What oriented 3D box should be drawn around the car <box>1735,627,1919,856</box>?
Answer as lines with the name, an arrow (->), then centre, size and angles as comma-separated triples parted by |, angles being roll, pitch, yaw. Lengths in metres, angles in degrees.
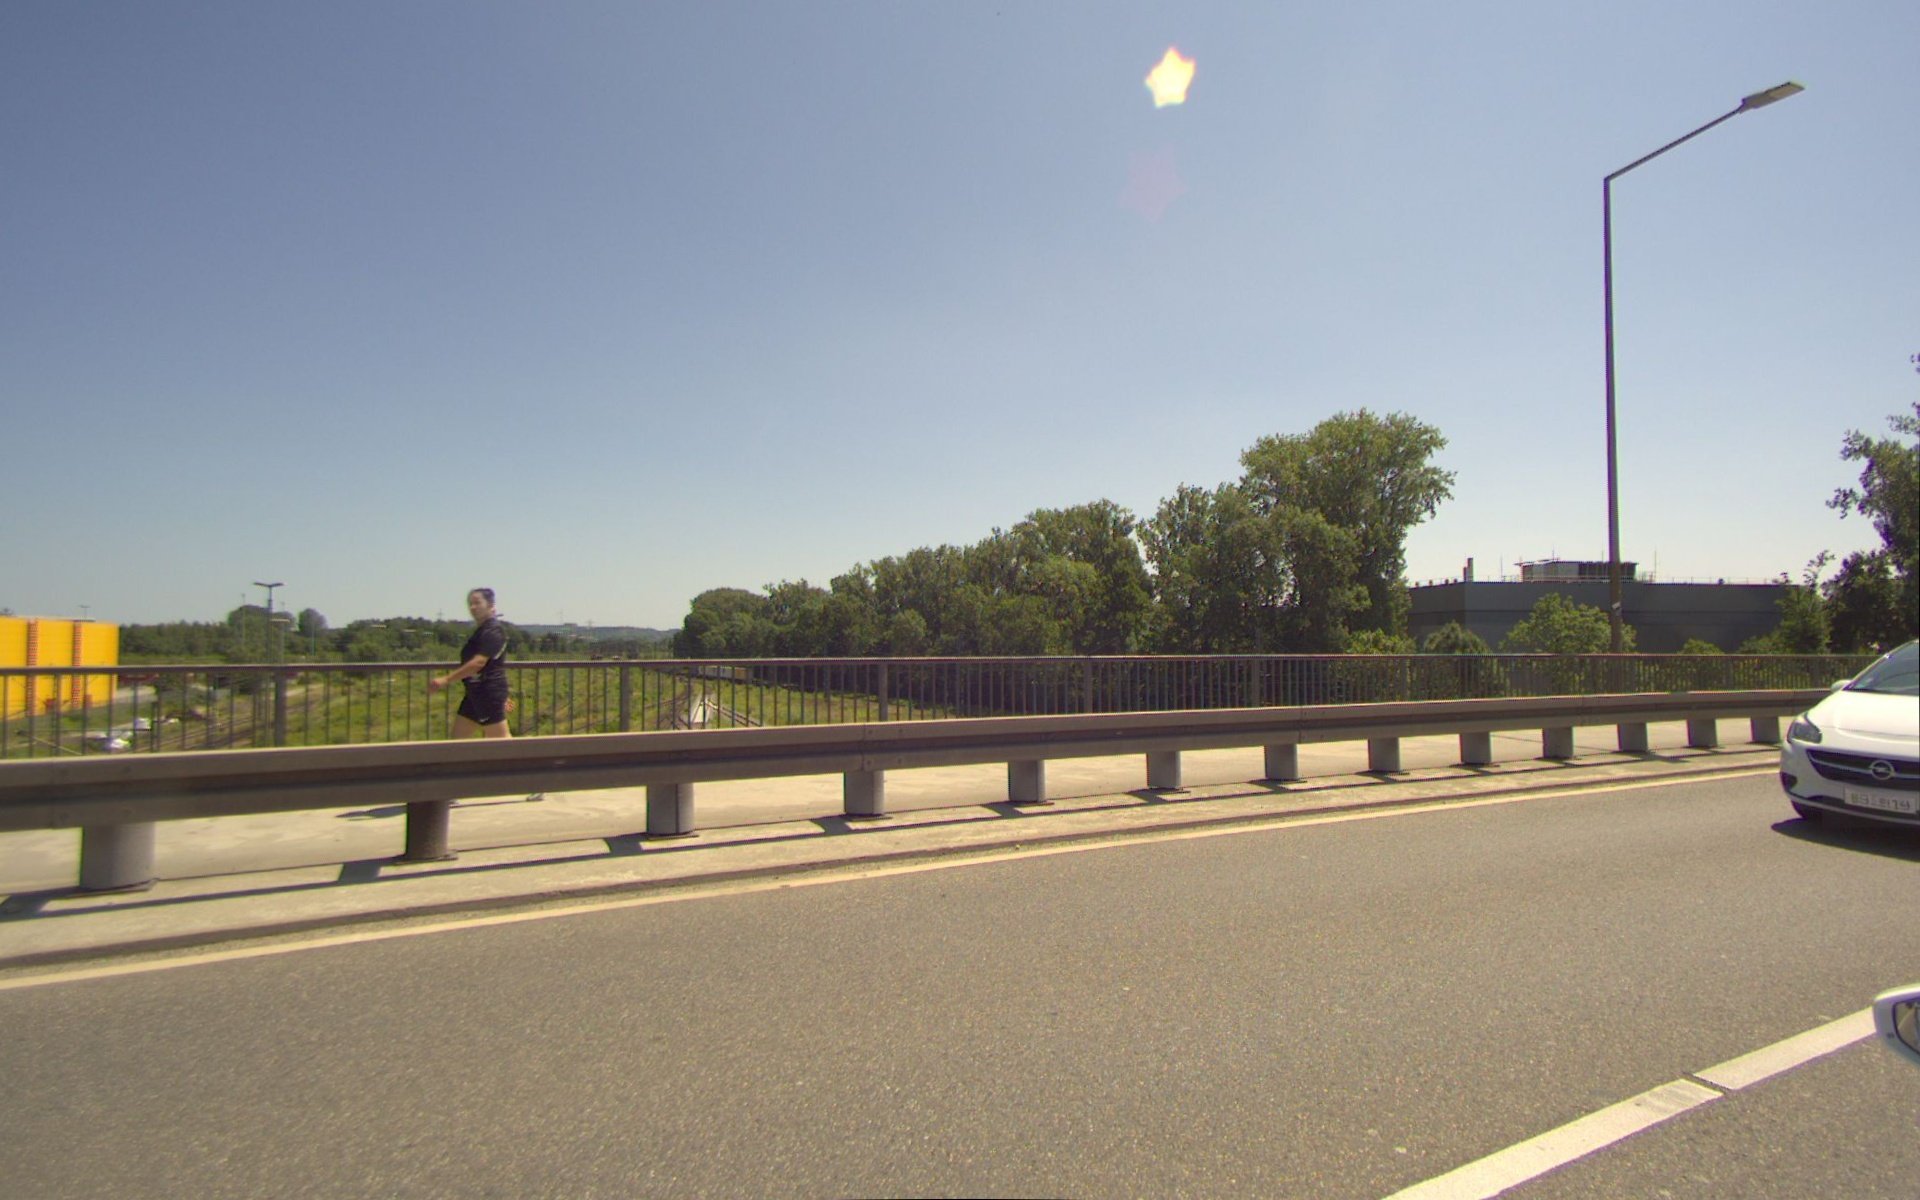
car -> 7.941, 0.987, 7.643 | 3.814, 1.503, 1.720 | 2, -2, -25

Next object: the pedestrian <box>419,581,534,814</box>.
pedestrian -> -3.521, 0.678, 7.315 | 0.686, 1.582, 0.711 | 2, -2, -28
